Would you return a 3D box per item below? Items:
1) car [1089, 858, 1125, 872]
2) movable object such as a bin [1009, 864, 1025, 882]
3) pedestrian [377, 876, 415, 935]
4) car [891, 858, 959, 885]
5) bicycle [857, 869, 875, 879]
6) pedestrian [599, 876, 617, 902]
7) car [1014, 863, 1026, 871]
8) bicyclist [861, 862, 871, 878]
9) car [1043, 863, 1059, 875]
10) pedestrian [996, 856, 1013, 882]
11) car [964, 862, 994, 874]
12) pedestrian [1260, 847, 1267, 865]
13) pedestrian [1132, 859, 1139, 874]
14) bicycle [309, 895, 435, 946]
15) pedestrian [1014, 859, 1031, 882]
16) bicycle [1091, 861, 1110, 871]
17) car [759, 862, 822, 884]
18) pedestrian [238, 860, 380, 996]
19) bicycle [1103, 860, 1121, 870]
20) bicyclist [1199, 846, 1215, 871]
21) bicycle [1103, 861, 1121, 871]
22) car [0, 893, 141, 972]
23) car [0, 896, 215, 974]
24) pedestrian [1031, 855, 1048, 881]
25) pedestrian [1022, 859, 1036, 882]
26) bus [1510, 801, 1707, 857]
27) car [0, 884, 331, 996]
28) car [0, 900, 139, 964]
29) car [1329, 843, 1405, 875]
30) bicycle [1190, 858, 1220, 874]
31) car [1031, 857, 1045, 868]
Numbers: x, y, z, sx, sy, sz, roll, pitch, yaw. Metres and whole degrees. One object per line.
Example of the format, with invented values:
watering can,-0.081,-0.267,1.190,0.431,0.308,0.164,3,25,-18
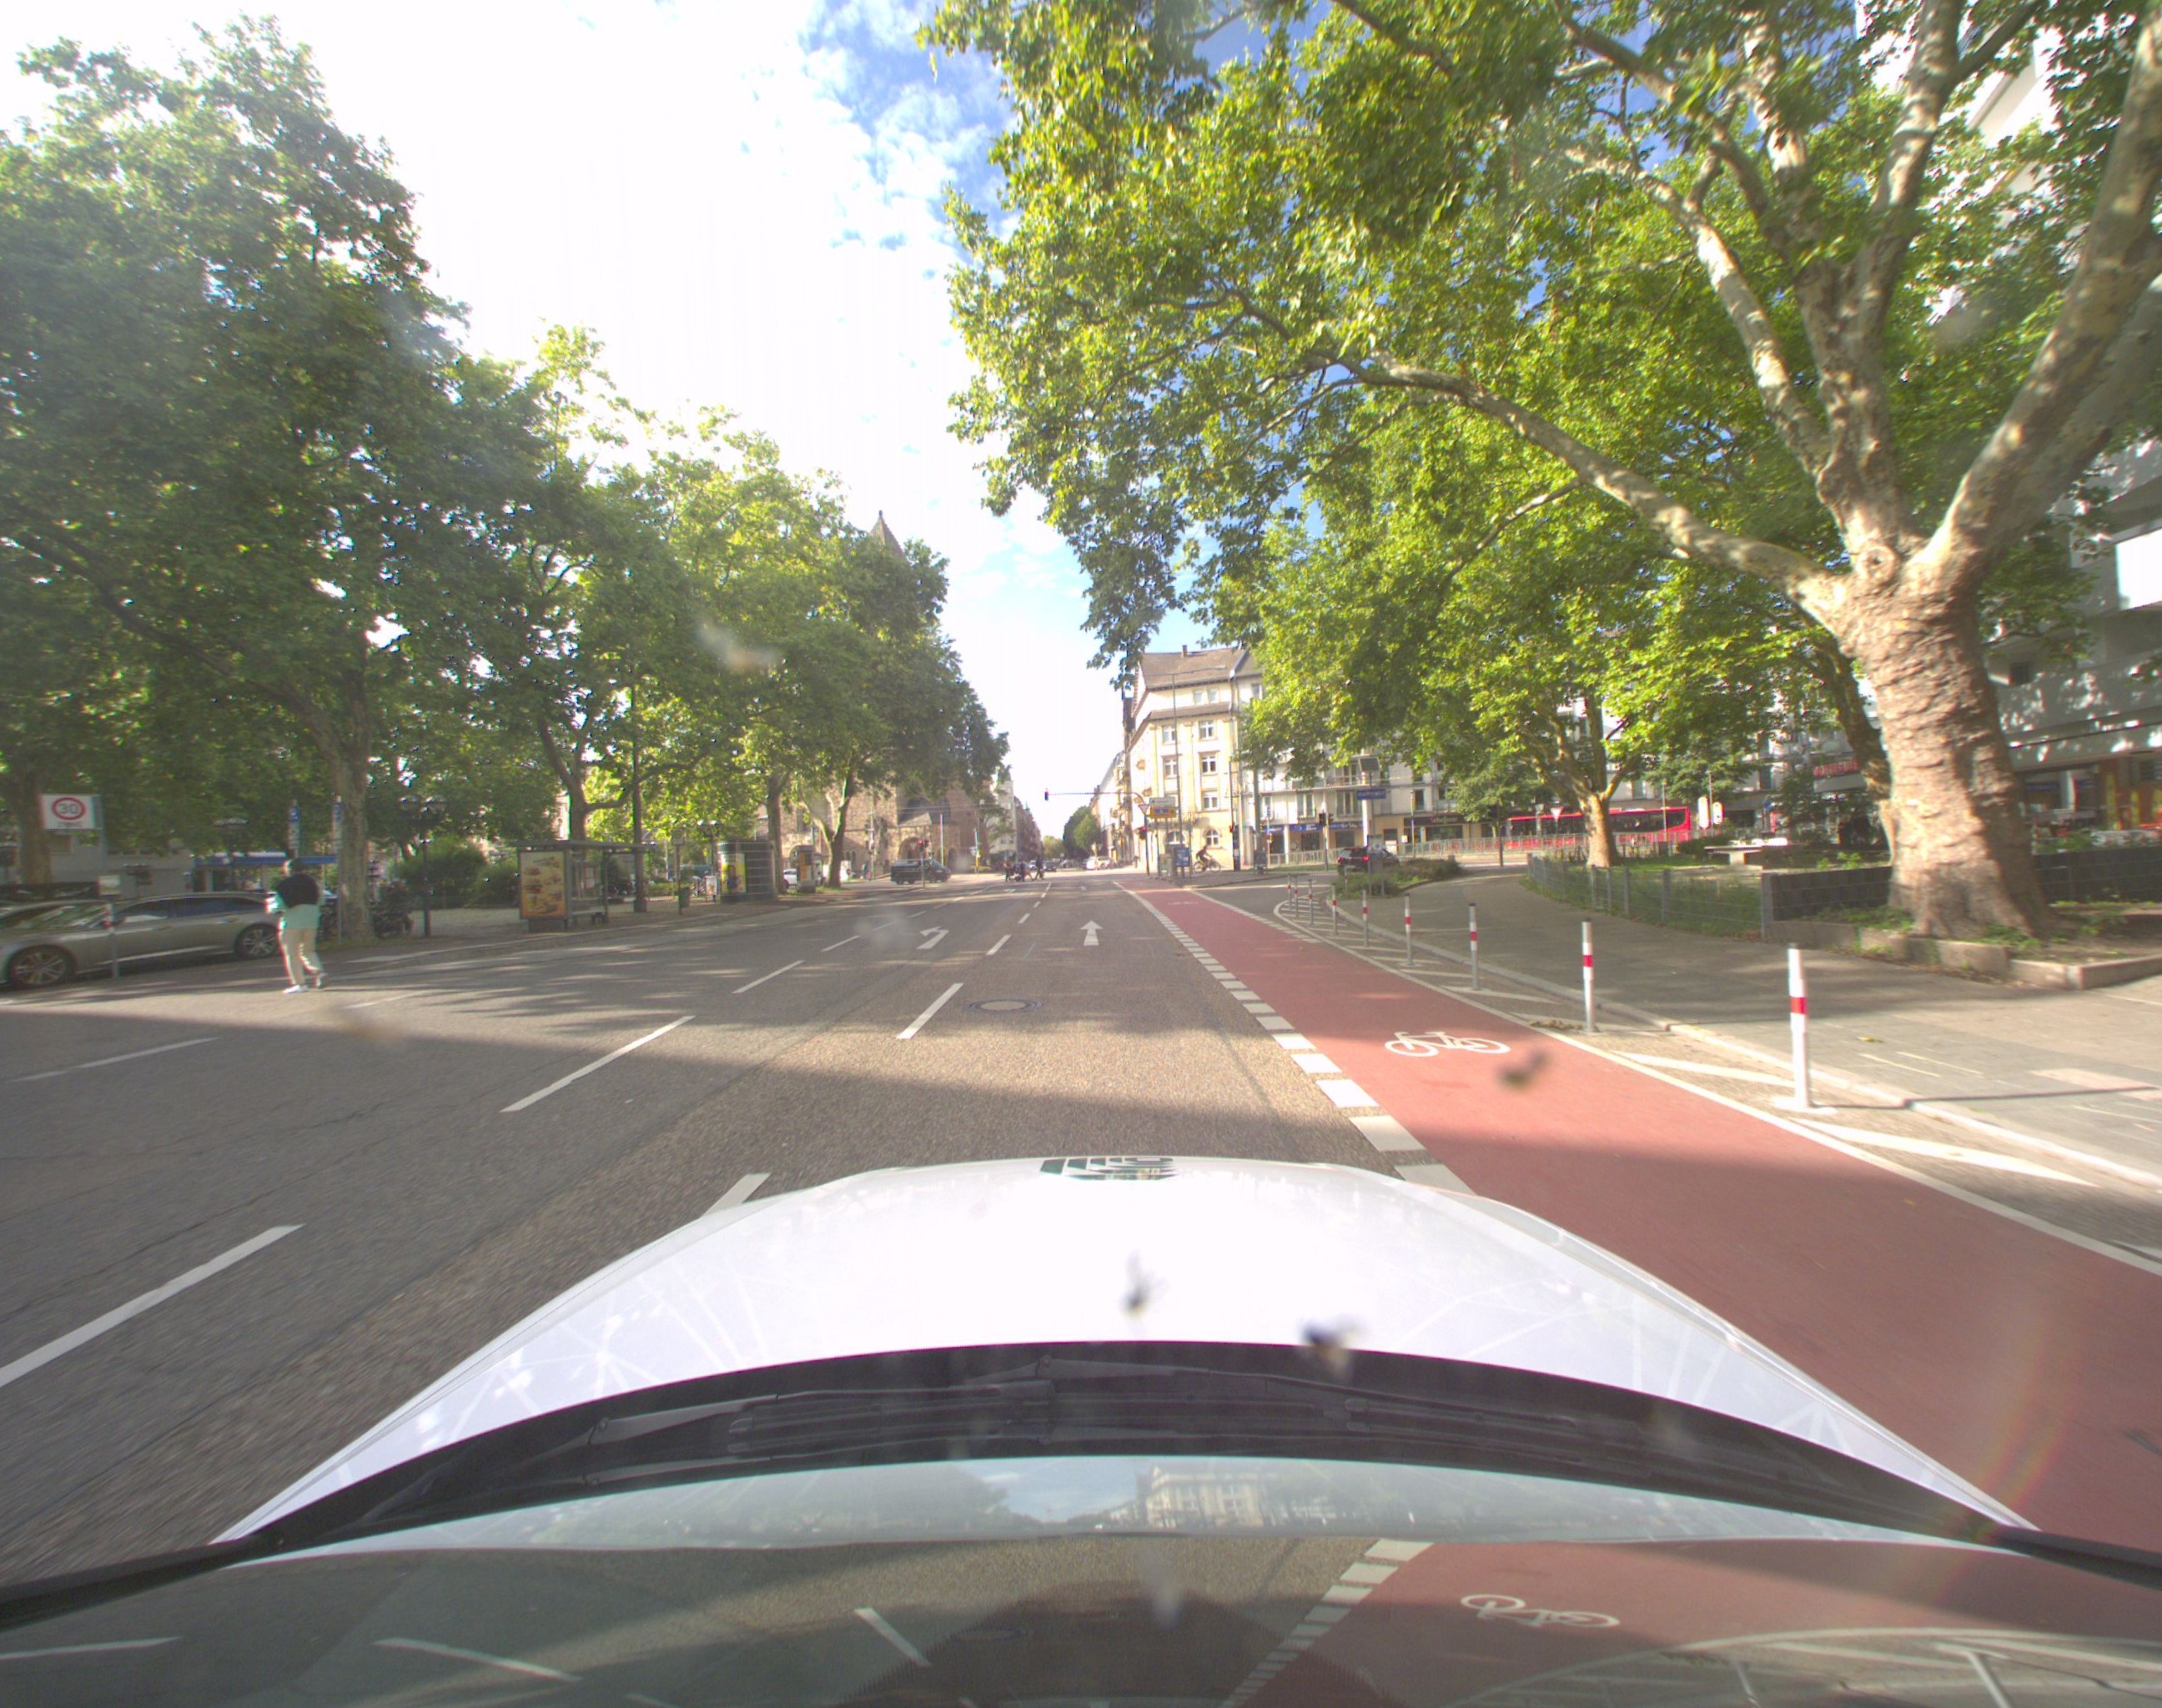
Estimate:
car,3.089,1.283,97.259,3.980,1.420,1.997,-3,0,-5
movable object such as a bin,-4.108,1.217,52.398,0.830,1.123,0.578,-3,0,22
pedestrian,-20.684,1.550,24.601,0.499,1.715,0.706,-3,0,0
car,-12.255,1.344,64.042,4.804,1.871,2.041,-3,0,18
bicycle,-22.781,2.136,86.214,0.630,0.980,1.937,-3,0,31
pedestrian,-23.994,1.756,41.308,0.725,1.288,0.811,0,-1,-26
car,-9.801,2.034,130.469,1.545,1.230,3.589,-2,0,2
bicyclist,-22.782,1.701,86.342,0.716,1.662,0.724,-3,0,29
car,-3.863,1.896,104.877,1.944,1.372,3.998,-3,0,-1
pedestrian,-4.967,0.974,52.732,0.807,1.629,0.608,-3,0,23
car,-15.115,2.094,121.002,4.021,1.596,1.847,-3,0,-40
pedestrian,17.675,0.168,78.854,0.491,1.714,0.530,-1,-1,23
pedestrian,5.782,1.318,86.338,0.557,1.623,0.603,-3,-1,20
bicycle,-18.664,1.733,21.506,1.377,1.209,2.114,-3,-2,23
pedestrian,-3.672,1.030,51.464,0.774,1.432,0.735,-3,0,22
bicycle,2.277,1.412,94.815,2.023,1.082,0.618,-3,0,-11
car,-24.535,1.607,68.877,4.667,1.683,2.026,-3,0,18
pedestrian,-10.584,0.973,11.218,1.075,1.753,0.915,-1,0,-14
bicycle,3.624,1.328,94.902,2.023,1.082,0.618,-3,0,-11
bicyclist,8.196,0.278,53.026,0.771,1.579,0.629,-3,-1,24
bicycle,3.621,1.382,95.593,2.023,1.082,0.628,-3,0,-11
car,-24.967,1.859,18.552,1.664,1.616,4.299,-3,0,21
car,-22.365,1.770,17.488,1.652,1.377,4.863,-3,0,21
pedestrian,-2.719,0.894,52.833,0.774,1.662,0.783,-3,0,22
pedestrian,-3.328,1.065,52.018,0.649,1.432,0.501,-3,0,22
bus,39.836,-1.816,62.223,12.155,3.548,3.045,-3,0,22
car,-18.049,1.528,15.584,2.218,1.585,4.993,-3,0,13
car,-26.699,1.975,19.906,1.838,1.377,4.411,-3,0,21
car,13.917,0.215,39.571,4.022,1.413,1.736,-2,0,-42
bicycle,8.095,0.815,53.030,1.813,0.955,0.576,-3,-1,25
car,-6.998,1.396,132.967,1.944,1.750,3.998,-3,0,-1
